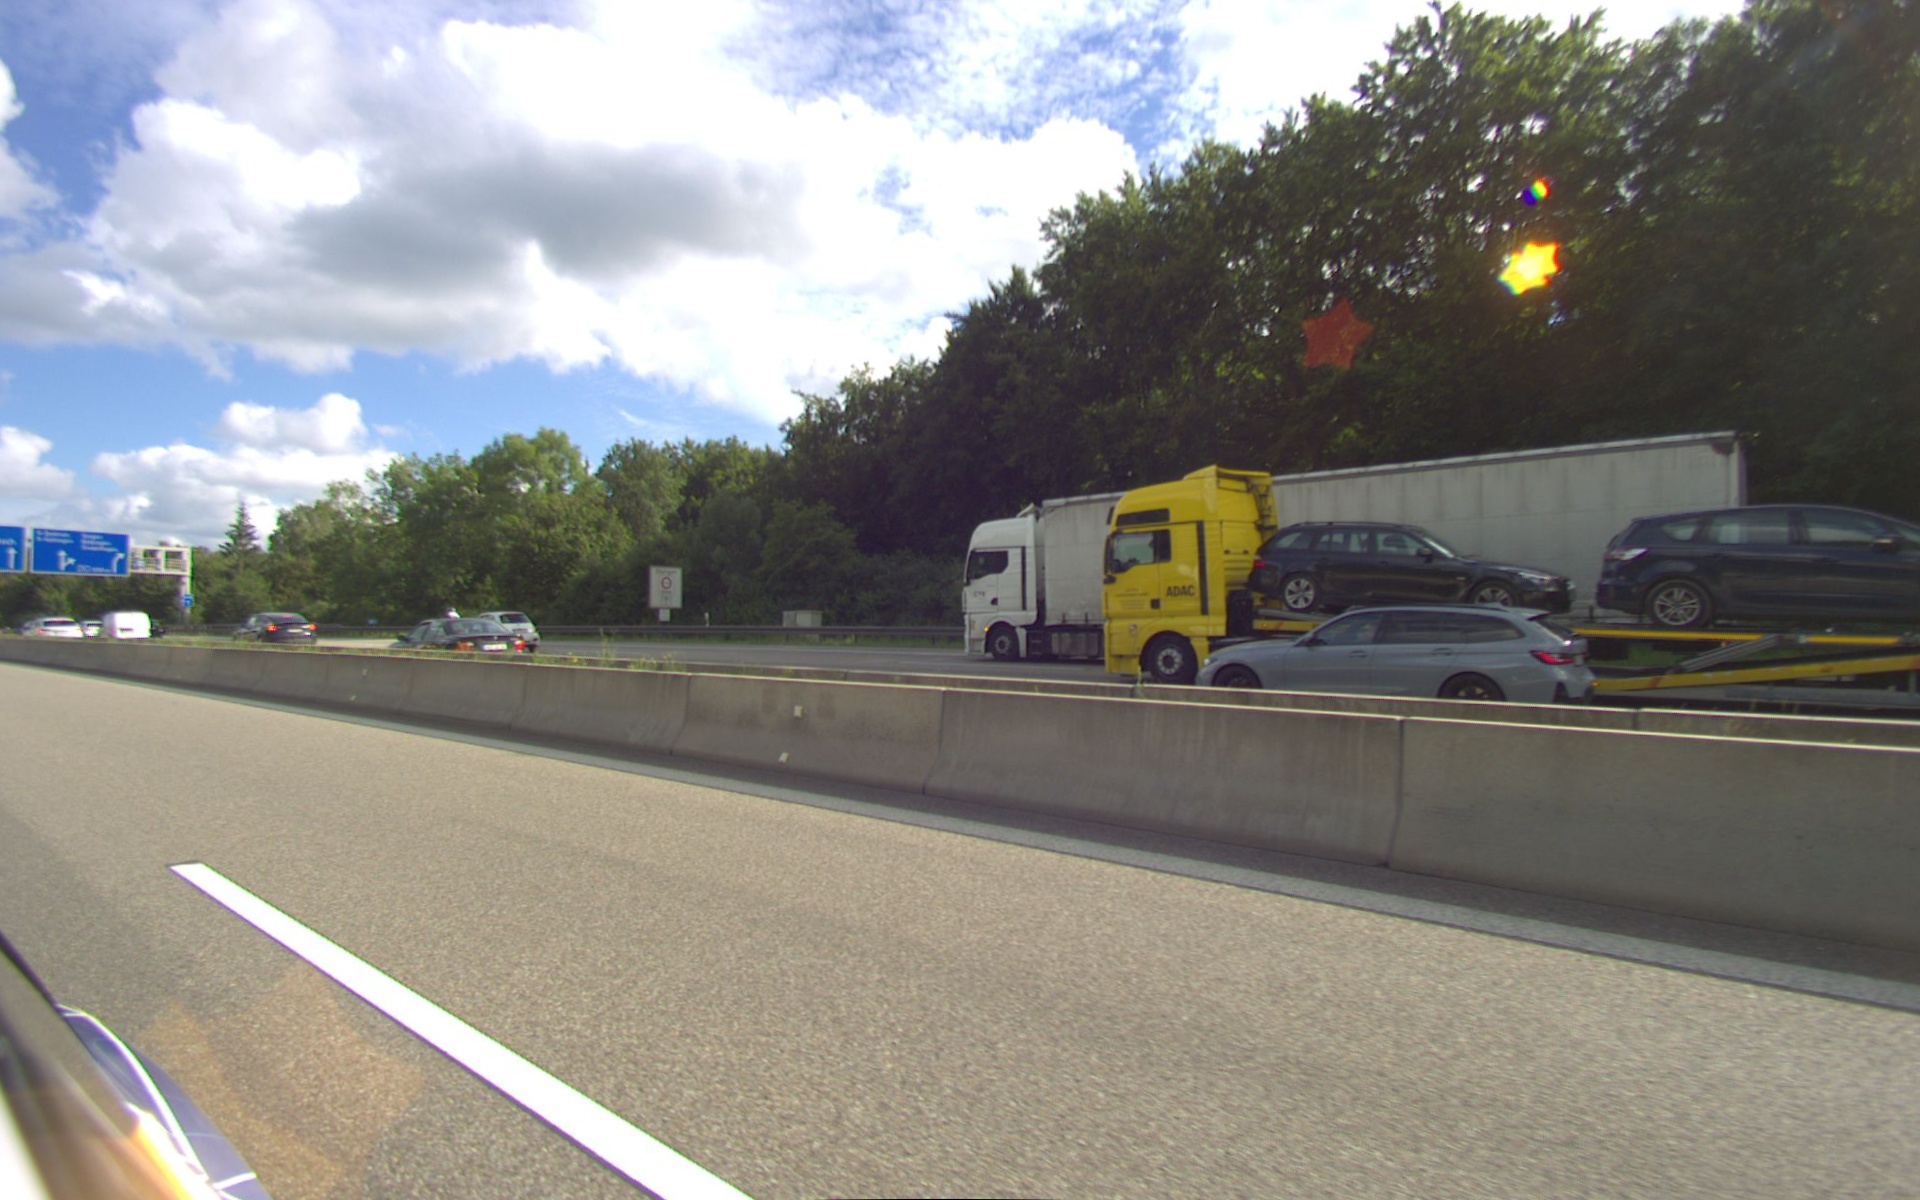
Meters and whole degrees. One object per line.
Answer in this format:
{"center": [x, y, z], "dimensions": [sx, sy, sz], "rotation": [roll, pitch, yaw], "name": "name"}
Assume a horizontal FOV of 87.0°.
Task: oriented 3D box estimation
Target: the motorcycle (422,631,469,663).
{"center": [-15.886, 1.435, 31.249], "dimensions": [2.250, 0.963, 0.477], "rotation": [-1, -1, 41], "name": "motorcycle"}

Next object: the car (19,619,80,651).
{"center": [-45.769, 1.745, 50.849], "dimensions": [4.677, 1.519, 1.736], "rotation": [-2, -1, 41], "name": "car"}

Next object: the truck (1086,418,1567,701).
{"center": [5.896, -0.502, 17.133], "dimensions": [7.129, 3.839, 2.748], "rotation": [-1, -1, 41], "name": "truck"}

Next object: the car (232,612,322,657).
{"center": [-27.699, 1.351, 40.992], "dimensions": [4.678, 1.700, 1.972], "rotation": [-1, -1, 42], "name": "car"}

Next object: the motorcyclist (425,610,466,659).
{"center": [-15.861, 1.051, 31.201], "dimensions": [1.074, 1.487, 0.746], "rotation": [-1, -1, 40], "name": "motorcyclist"}

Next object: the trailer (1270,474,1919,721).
{"center": [10.890, -0.020, 12.859], "dimensions": [13.303, 2.740, 2.748], "rotation": [-1, -1, 41], "name": "trailer"}

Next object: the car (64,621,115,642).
{"center": [-65.283, 2.369, 75.903], "dimensions": [4.665, 1.484, 2.052], "rotation": [-1, -1, 38], "name": "car"}

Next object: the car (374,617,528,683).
{"center": [-11.388, 1.060, 22.520], "dimensions": [4.197, 1.317, 1.666], "rotation": [-1, -1, 42], "name": "car"}

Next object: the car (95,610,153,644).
{"center": [-48.458, 1.561, 58.625], "dimensions": [4.728, 1.851, 1.972], "rotation": [-1, -1, 42], "name": "car"}

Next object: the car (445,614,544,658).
{"center": [-17.341, 1.319, 37.634], "dimensions": [4.127, 1.509, 1.828], "rotation": [-1, 0, 41], "name": "car"}

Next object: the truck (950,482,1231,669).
{"center": [3.111, -0.495, 25.436], "dimensions": [6.593, 4.099, 2.679], "rotation": [-1, -1, 40], "name": "truck"}

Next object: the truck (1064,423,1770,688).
{"center": [8.326, -0.588, 20.962], "dimensions": [13.079, 4.099, 2.679], "rotation": [-1, -1, 41], "name": "truck"}

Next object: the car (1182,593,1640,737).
{"center": [5.538, 0.713, 12.832], "dimensions": [4.976, 1.497, 1.974], "rotation": [-1, -1, 38], "name": "car"}
